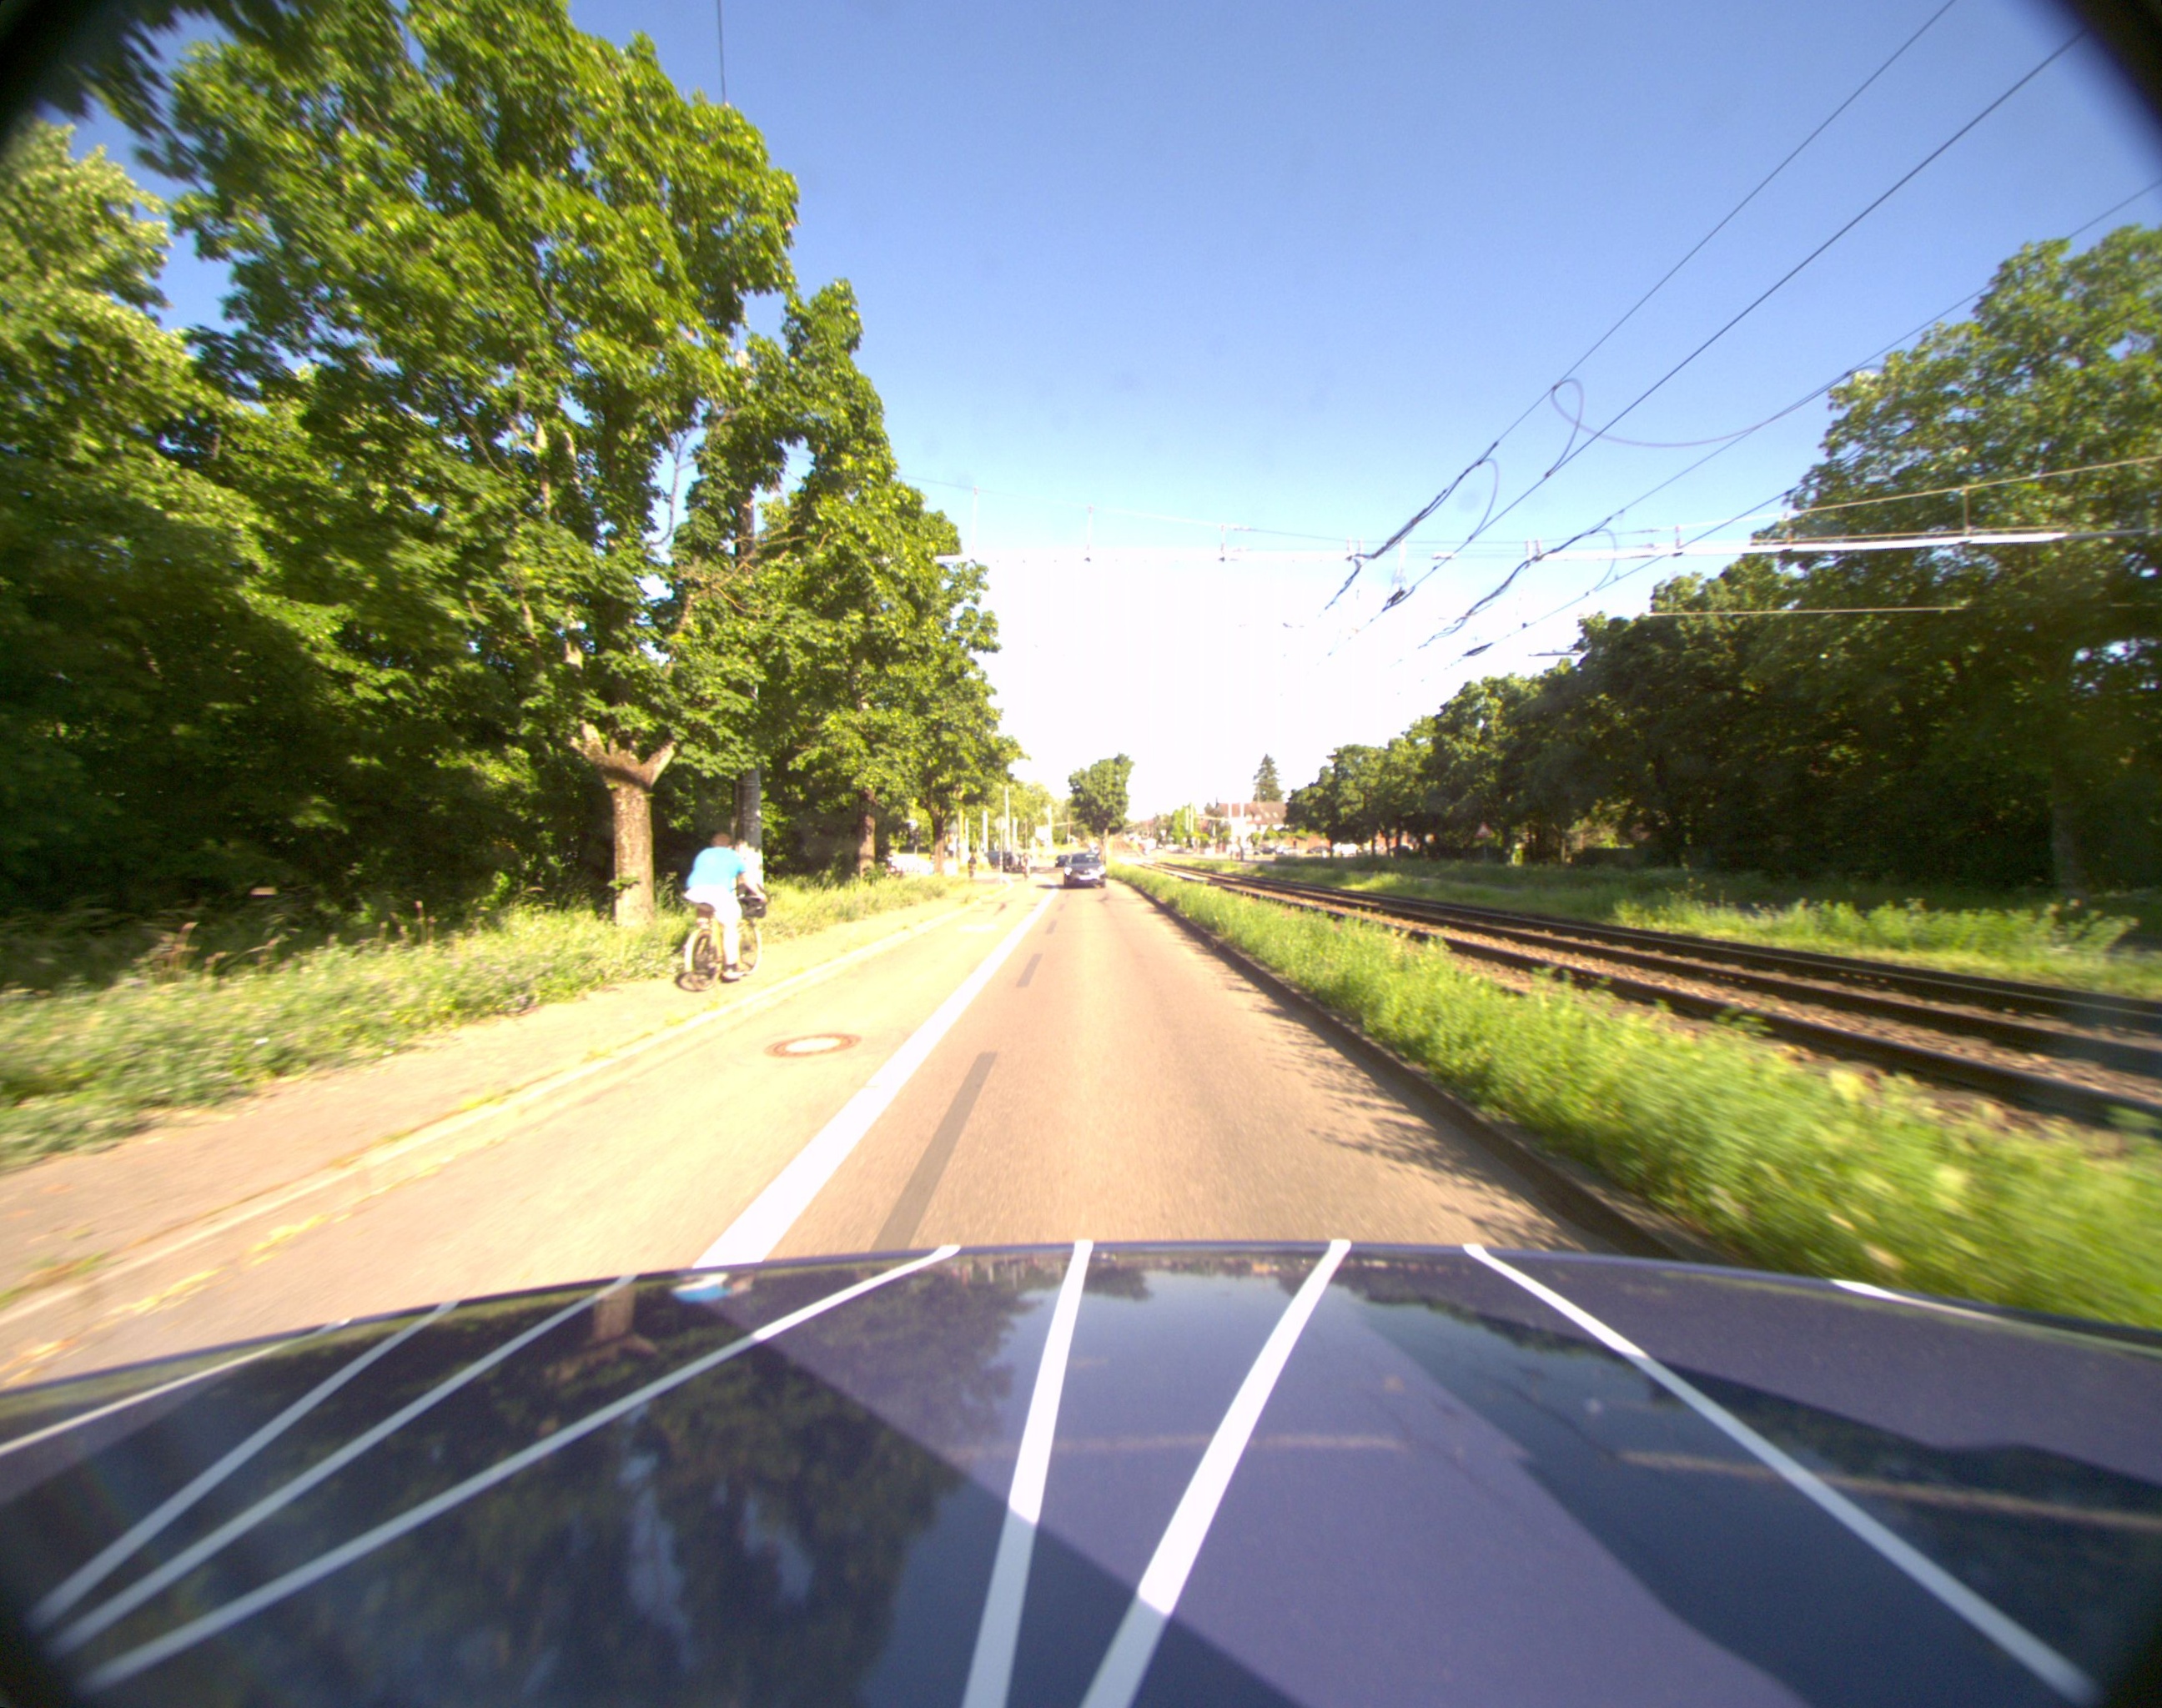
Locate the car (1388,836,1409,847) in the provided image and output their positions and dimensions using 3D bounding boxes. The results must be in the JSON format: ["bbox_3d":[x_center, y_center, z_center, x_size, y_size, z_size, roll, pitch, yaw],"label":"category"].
[{"bbox_3d":[63.076,-2.472,150.928,4.005,2.002,1.804,-2,2,-26],"label":"car"}]

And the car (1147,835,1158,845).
[{"bbox_3d":[18.532,-3.711,197.638,2.347,2.444,6.869,-1,2,1],"label":"car"}]

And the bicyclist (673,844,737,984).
[{"bbox_3d":[-4.163,0.640,8.433,0.406,1.498,0.574,0,1,0],"label":"bicyclist"}]

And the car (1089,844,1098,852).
[{"bbox_3d":[2.484,-1.129,150.313,1.881,1.519,4.420,0,2,2],"label":"car"}]

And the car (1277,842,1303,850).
[{"bbox_3d":[38.577,-1.473,140.324,4.264,1.458,1.934,-2,1,-25],"label":"car"}]

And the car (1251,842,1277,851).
[{"bbox_3d":[33.344,-1.389,138.368,4.254,1.458,1.934,-2,2,-25],"label":"car"}]

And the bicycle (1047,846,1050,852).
[{"bbox_3d":[-5.713,-0.872,133.485,0.468,1.112,1.819,-1,2,-2],"label":"bicycle"}]

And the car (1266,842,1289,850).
[{"bbox_3d":[37.161,-1.533,143.519,4.005,1.469,1.668,-1,2,-25],"label":"car"}]

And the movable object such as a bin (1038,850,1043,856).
[{"bbox_3d":[-7.044,-0.156,131.826,0.911,1.062,1.316,-1,2,-4],"label":"movable object such as a bin"}]

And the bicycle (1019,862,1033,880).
[{"bbox_3d":[-3.199,0.972,44.355,0.525,0.918,2.089,0,2,3],"label":"bicycle"}]

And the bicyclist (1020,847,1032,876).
[{"bbox_3d":[-3.229,0.442,44.710,0.616,1.670,0.933,0,1,2],"label":"bicyclist"}]

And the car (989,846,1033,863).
[{"bbox_3d":[-8.455,0.047,91.727,5.104,2.059,2.134,0,2,35],"label":"car"}]

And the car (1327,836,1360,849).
[{"bbox_3d":[50.026,-2.214,144.923,5.928,2.397,2.176,-1,2,-23],"label":"car"}]

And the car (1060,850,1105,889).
[{"bbox_3d":[0.128,0.640,34.164,1.838,1.542,3.815,0,2,3],"label":"car"}]

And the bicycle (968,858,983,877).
[{"bbox_3d":[-6.760,0.834,48.744,0.620,1.183,2.505,0,1,-1],"label":"bicycle"}]

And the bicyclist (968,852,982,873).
[{"bbox_3d":[-6.755,0.544,48.376,0.757,1.360,0.806,0,1,-2],"label":"bicyclist"}]

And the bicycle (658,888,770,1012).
[{"bbox_3d":[-4.102,1.017,8.619,0.419,1.181,1.721,0,1,0],"label":"bicycle"}]

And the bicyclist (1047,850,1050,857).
[{"bbox_3d":[-5.701,-0.106,132.918,0.511,1.333,0.565,-1,2,-3],"label":"bicyclist"}]
